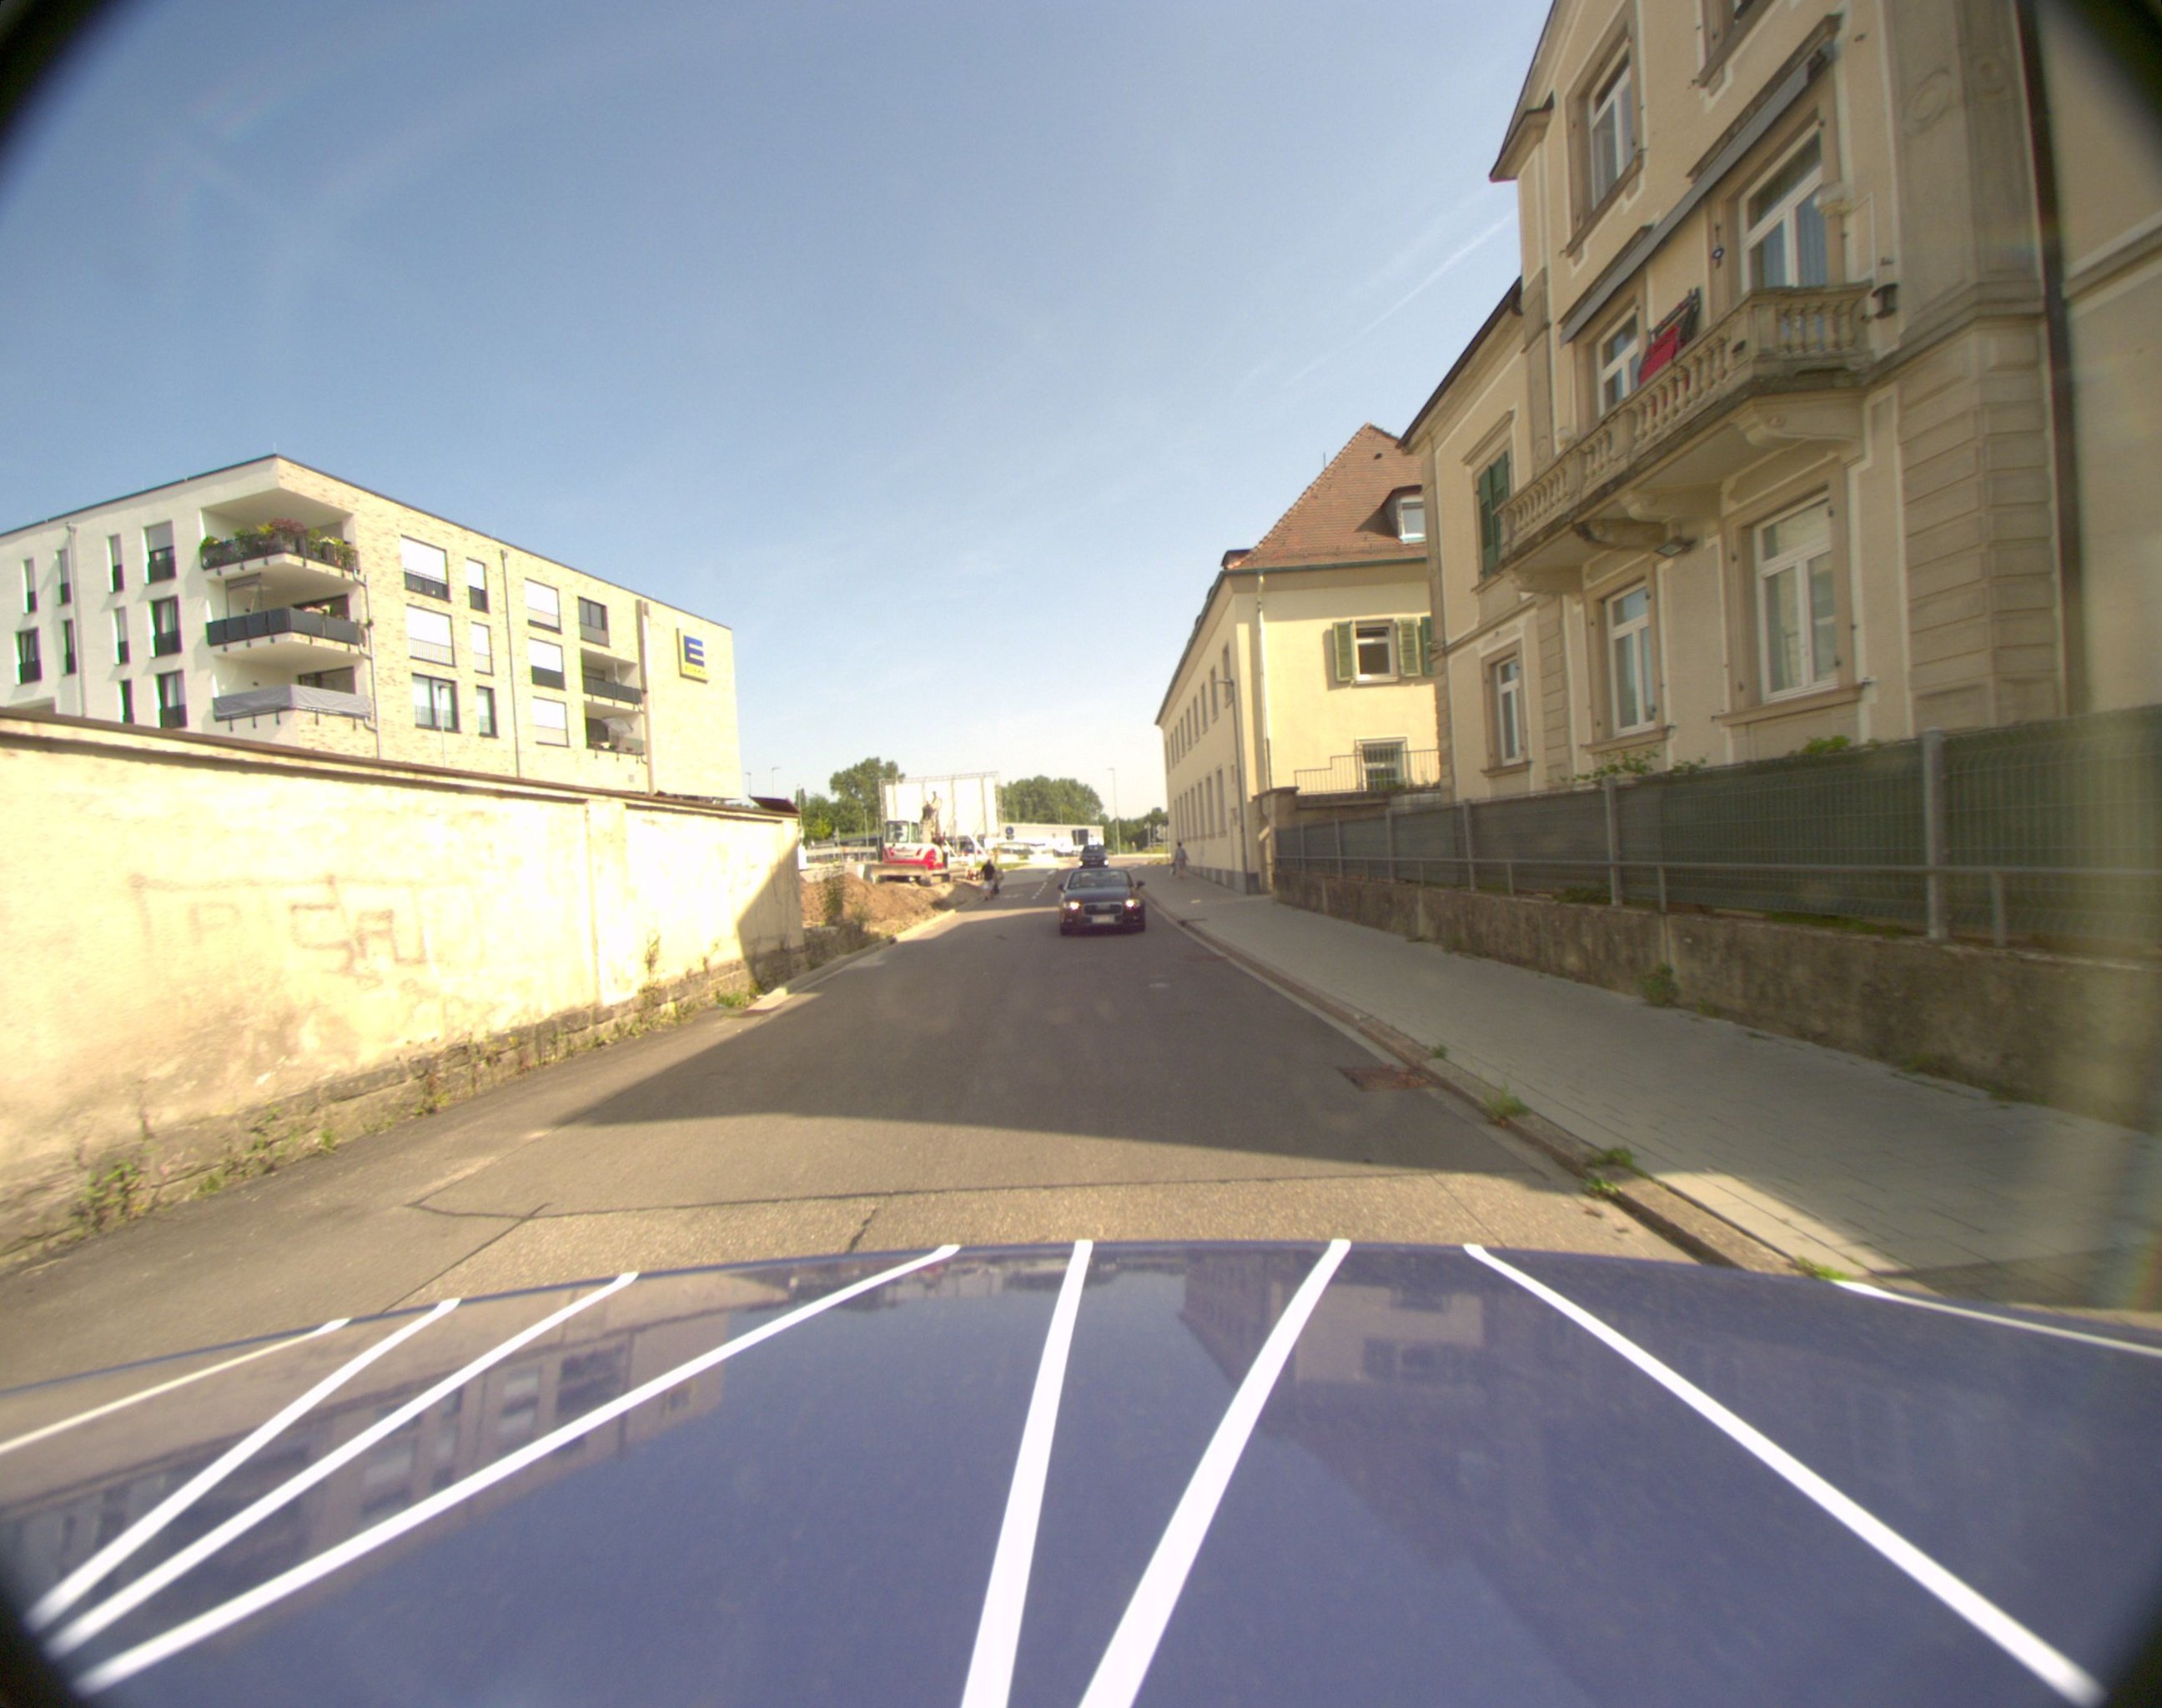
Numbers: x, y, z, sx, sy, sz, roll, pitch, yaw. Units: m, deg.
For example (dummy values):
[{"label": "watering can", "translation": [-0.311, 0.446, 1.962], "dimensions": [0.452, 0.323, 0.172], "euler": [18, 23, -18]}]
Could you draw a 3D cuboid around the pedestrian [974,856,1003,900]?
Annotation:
[{"label": "pedestrian", "translation": [-3.678, 0.948, 30.342], "dimensions": [0.890, 1.673, 0.718], "euler": [-5, 2, 1]}]

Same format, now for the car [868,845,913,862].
[{"label": "car", "translation": [-22.936, -0.101, 91.475], "dimensions": [4.851, 1.521, 1.925], "euler": [-6, -1, 22]}]

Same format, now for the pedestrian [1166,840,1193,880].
[{"label": "pedestrian", "translation": [4.198, 0.240, 32.489], "dimensions": [0.960, 1.622, 0.758], "euler": [-4, 1, 1]}]

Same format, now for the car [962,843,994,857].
[{"label": "car", "translation": [-14.297, -0.533, 105.943], "dimensions": [4.018, 1.564, 1.780], "euler": [-6, 0, 3]}]

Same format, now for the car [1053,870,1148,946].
[{"label": "car", "translation": [0.456, 1.054, 16.412], "dimensions": [1.721, 1.314, 4.225], "euler": [-2, -1, 2]}]

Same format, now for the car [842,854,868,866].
[{"label": "car", "translation": [-32.287, 0.843, 108.561], "dimensions": [1.663, 1.564, 3.791], "euler": [-6, -1, 18]}]

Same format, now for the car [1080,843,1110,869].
[{"label": "car", "translation": [0.919, 0.096, 47.755], "dimensions": [1.642, 1.385, 4.229], "euler": [-3, 2, 3]}]

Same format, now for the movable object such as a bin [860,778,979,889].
[{"label": "movable object such as a bin", "translation": [-6.447, -0.805, 31.741], "dimensions": [2.300, 3.831, 7.800], "euler": [-6, 1, 5]}]
